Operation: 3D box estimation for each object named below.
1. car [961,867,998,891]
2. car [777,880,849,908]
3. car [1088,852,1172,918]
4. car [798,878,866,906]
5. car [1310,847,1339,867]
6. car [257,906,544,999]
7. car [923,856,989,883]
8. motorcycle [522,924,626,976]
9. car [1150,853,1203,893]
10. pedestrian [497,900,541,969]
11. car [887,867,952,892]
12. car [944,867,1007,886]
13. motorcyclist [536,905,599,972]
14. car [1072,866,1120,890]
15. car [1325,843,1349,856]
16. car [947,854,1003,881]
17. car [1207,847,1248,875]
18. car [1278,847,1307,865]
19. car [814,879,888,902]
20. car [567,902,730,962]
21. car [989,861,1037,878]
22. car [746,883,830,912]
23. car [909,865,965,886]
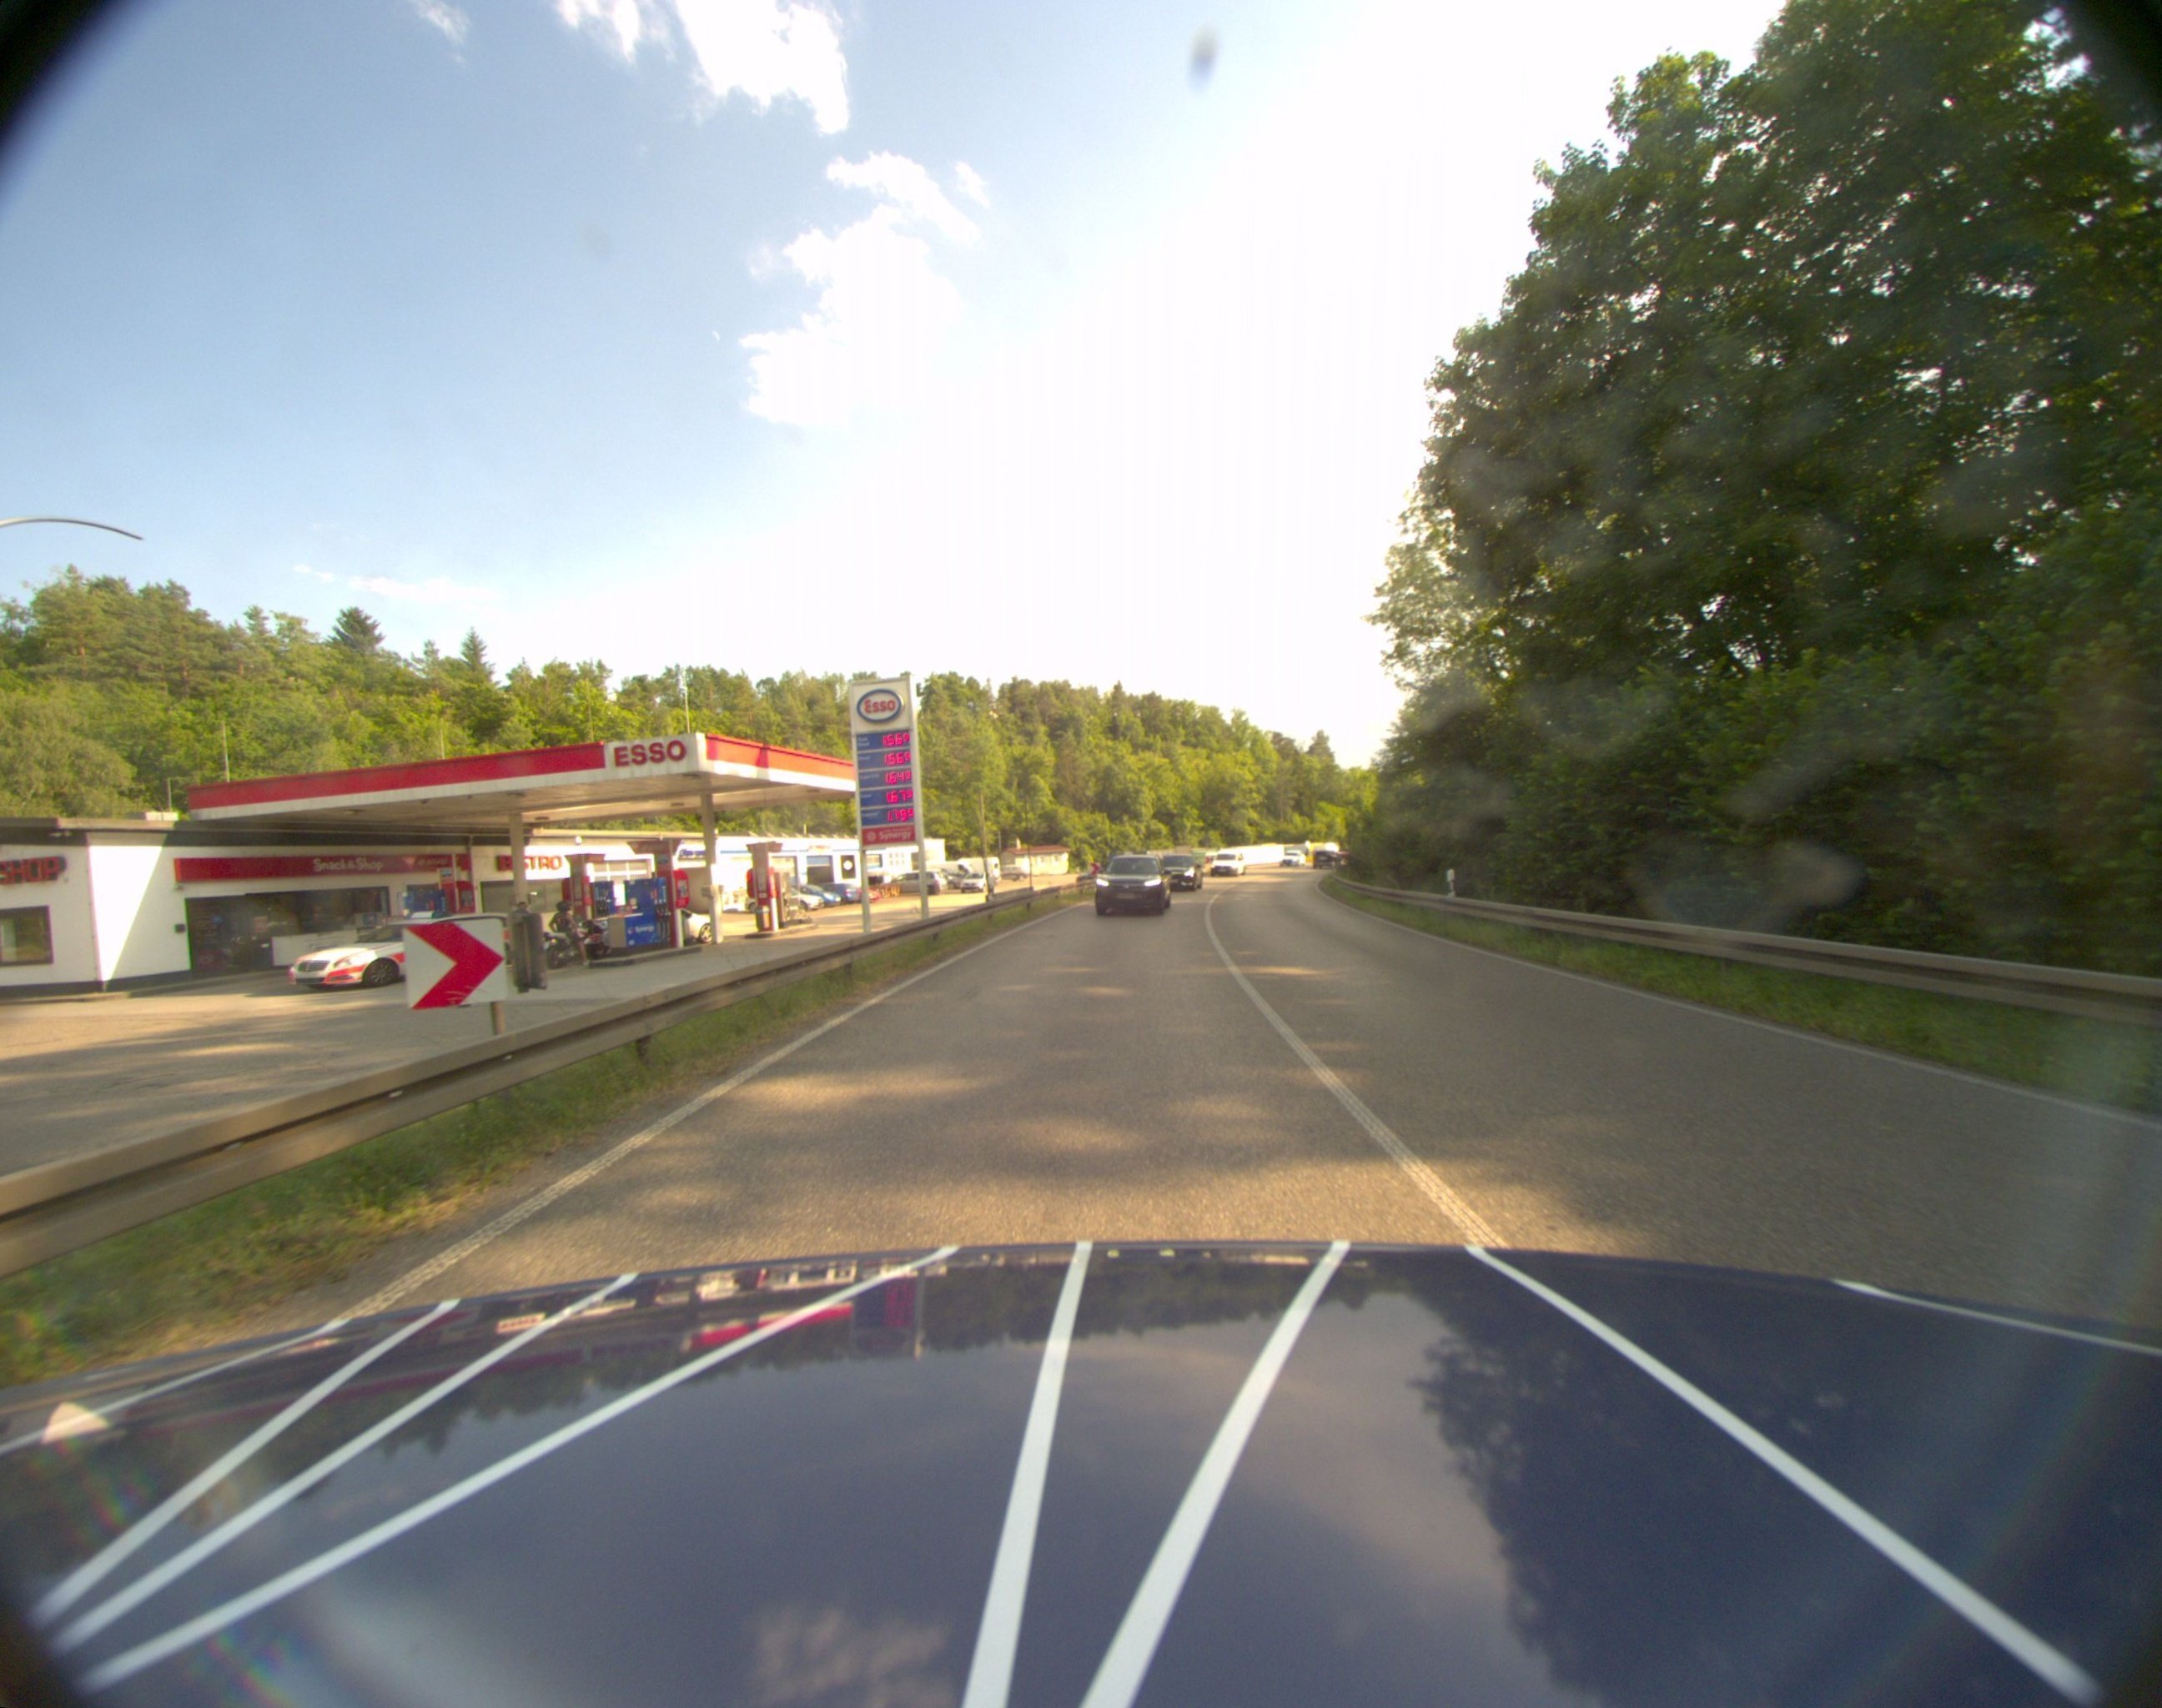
[{"bbox_3d":[-7.653,1.844,57.414,1.793,1.587,3.991,-1,1,7],"label":"car"},{"bbox_3d":[-15.762,2.361,44.726,3.556,1.398,1.692,-3,0,11],"label":"car"},{"bbox_3d":[1.521,0.806,21.754,1.858,1.630,4.444,-1,1,10],"label":"car"},{"bbox_3d":[-15.347,2.336,46.916,3.550,1.437,1.735,-3,0,11],"label":"car"},{"bbox_3d":[21.203,0.245,66.007,1.869,1.643,4.557,0,0,25],"label":"car"},{"bbox_3d":[-16.877,2.363,19.355,2.096,1.618,5.184,-3,0,10],"label":"car"},{"bbox_3d":[-11.457,1.418,69.817,5.483,2.261,2.297,-1,1,11],"label":"car"},{"bbox_3d":[-13.081,2.448,19.718,0.763,1.006,2.342,-3,0,10],"label":"motorcycle"},{"bbox_3d":[4.325,0.794,33.971,1.846,1.561,4.261,-1,1,14],"label":"car"},{"bbox_3d":[-15.096,2.158,20.416,0.703,1.766,0.620,-4,1,28],"label":"pedestrian"},{"bbox_3d":[-12.007,1.880,56.576,4.255,1.719,1.893,-1,1,8],"label":"car"},{"bbox_3d":[-8.635,1.854,62.431,4.728,1.425,1.958,-1,1,9],"label":"car"},{"bbox_3d":[-13.150,2.146,19.479,0.859,1.595,0.928,-3,0,11],"label":"motorcyclist"},{"bbox_3d":[1.030,1.592,50.351,1.826,1.345,4.278,-2,0,21],"label":"car"},{"bbox_3d":[31.955,-0.536,94.804,1.856,1.412,4.426,-4,0,30],"label":"car"},{"bbox_3d":[-10.230,1.288,73.467,4.916,2.435,2.209,-1,1,9],"label":"car"},{"bbox_3d":[10.030,0.443,51.784,1.865,1.710,4.769,-1,1,21],"label":"car"},{"bbox_3d":[20.794,0.188,74.684,1.893,1.437,4.483,-4,0,26],"label":"car"},{"bbox_3d":[-14.816,2.331,48.982,4.074,1.340,1.896,-1,0,11],"label":"car"},{"bbox_3d":[-13.035,2.303,23.271,1.845,1.311,4.393,-3,0,11],"label":"car"},{"bbox_3d":[-6.966,1.606,77.623,4.412,1.660,1.939,-1,-1,-30],"label":"car"},{"bbox_3d":[-16.232,2.403,42.200,3.964,1.347,1.777,-2,1,7],"label":"car"},{"bbox_3d":[-12.360,1.857,65.140,4.247,1.601,1.896,-2,1,11],"label":"car"}]
